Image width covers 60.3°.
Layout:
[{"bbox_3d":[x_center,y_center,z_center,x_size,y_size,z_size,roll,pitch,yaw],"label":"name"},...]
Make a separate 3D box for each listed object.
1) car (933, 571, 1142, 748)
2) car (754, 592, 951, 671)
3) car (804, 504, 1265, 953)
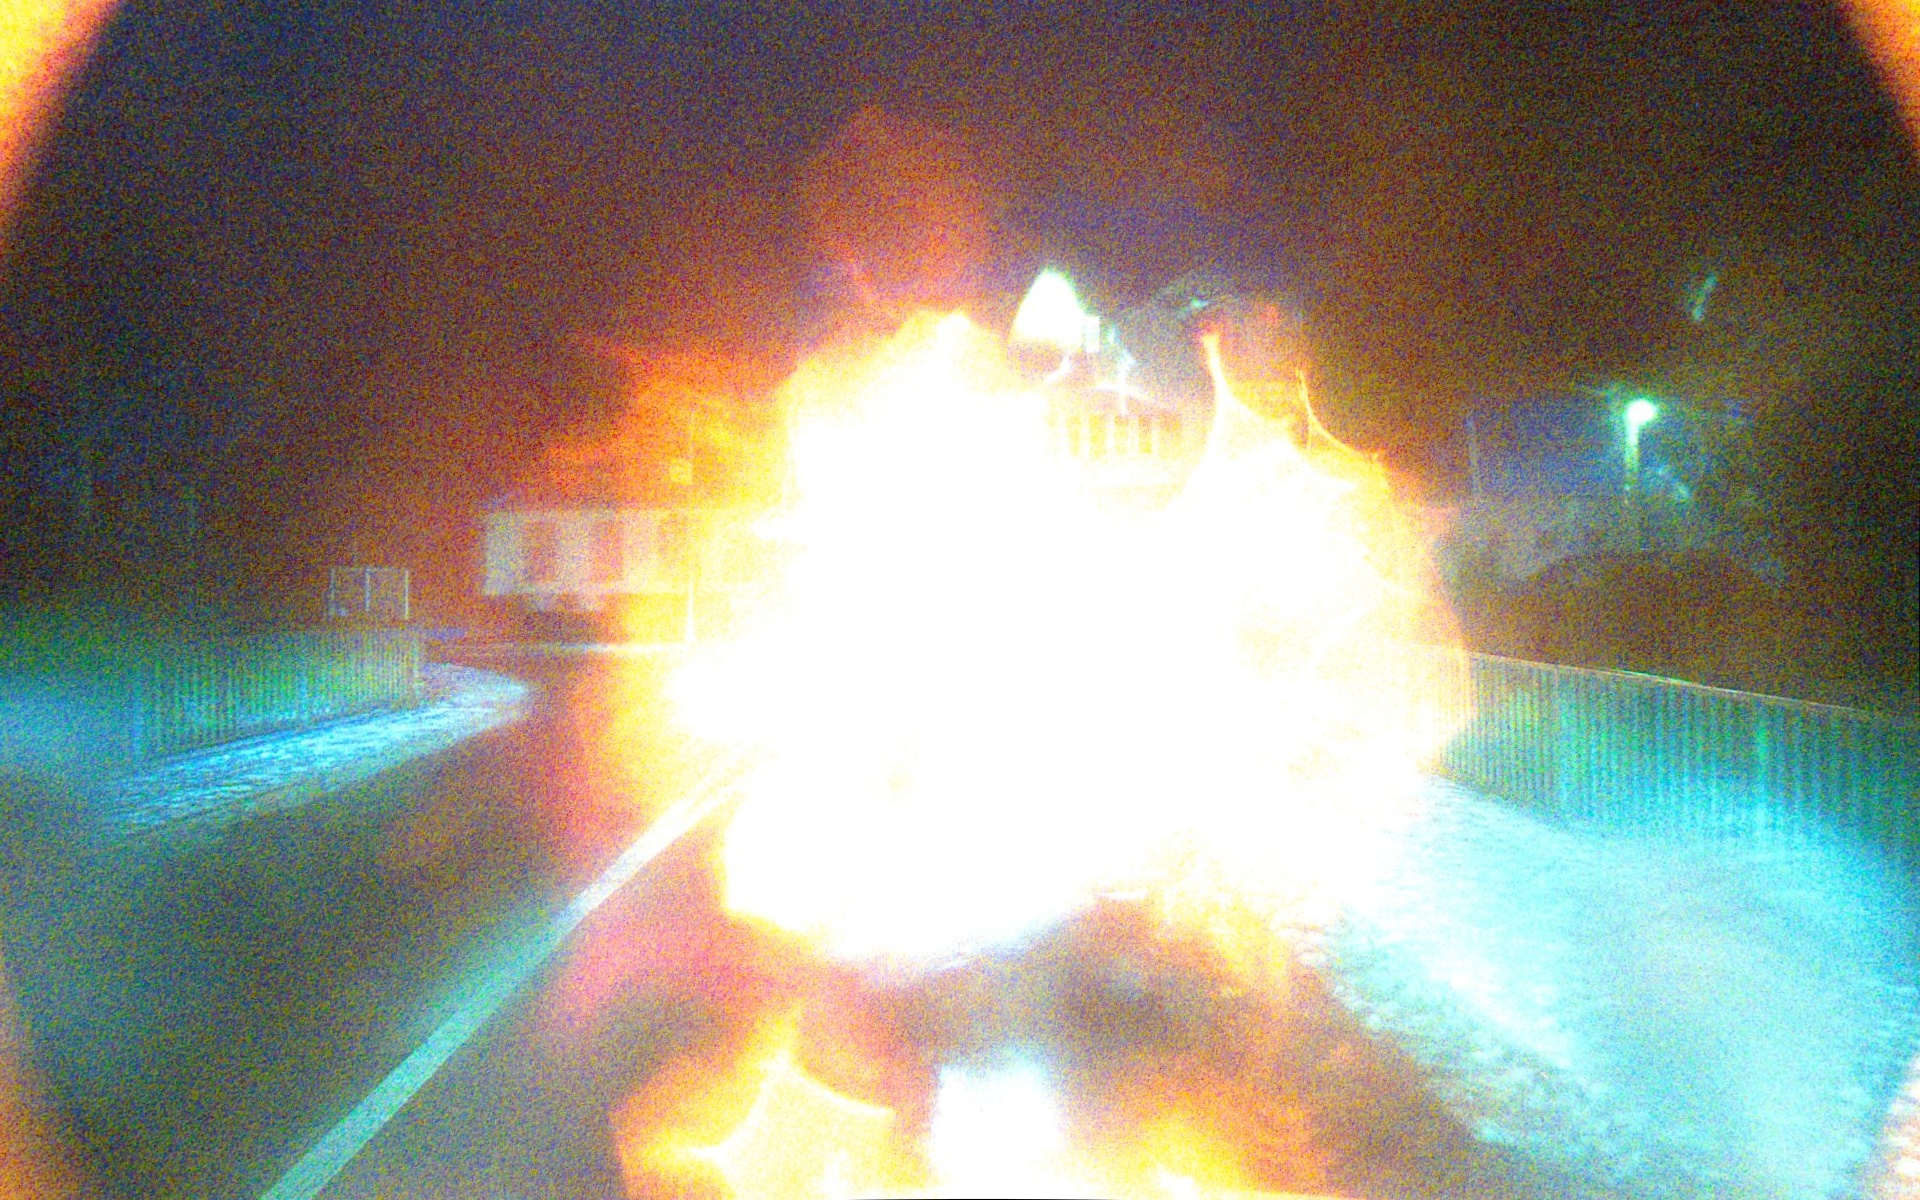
[{"bbox_3d":[0.735,0.459,15.581,1.707,1.440,4.002,-1,1,3],"label":"car"},{"bbox_3d":[-2.710,0.808,42.021,4.586,1.824,2.001,-2,-2,13],"label":"car"},{"bbox_3d":[0.305,0.446,8.249,1.754,1.710,3.905,0,1,1],"label":"car"}]
